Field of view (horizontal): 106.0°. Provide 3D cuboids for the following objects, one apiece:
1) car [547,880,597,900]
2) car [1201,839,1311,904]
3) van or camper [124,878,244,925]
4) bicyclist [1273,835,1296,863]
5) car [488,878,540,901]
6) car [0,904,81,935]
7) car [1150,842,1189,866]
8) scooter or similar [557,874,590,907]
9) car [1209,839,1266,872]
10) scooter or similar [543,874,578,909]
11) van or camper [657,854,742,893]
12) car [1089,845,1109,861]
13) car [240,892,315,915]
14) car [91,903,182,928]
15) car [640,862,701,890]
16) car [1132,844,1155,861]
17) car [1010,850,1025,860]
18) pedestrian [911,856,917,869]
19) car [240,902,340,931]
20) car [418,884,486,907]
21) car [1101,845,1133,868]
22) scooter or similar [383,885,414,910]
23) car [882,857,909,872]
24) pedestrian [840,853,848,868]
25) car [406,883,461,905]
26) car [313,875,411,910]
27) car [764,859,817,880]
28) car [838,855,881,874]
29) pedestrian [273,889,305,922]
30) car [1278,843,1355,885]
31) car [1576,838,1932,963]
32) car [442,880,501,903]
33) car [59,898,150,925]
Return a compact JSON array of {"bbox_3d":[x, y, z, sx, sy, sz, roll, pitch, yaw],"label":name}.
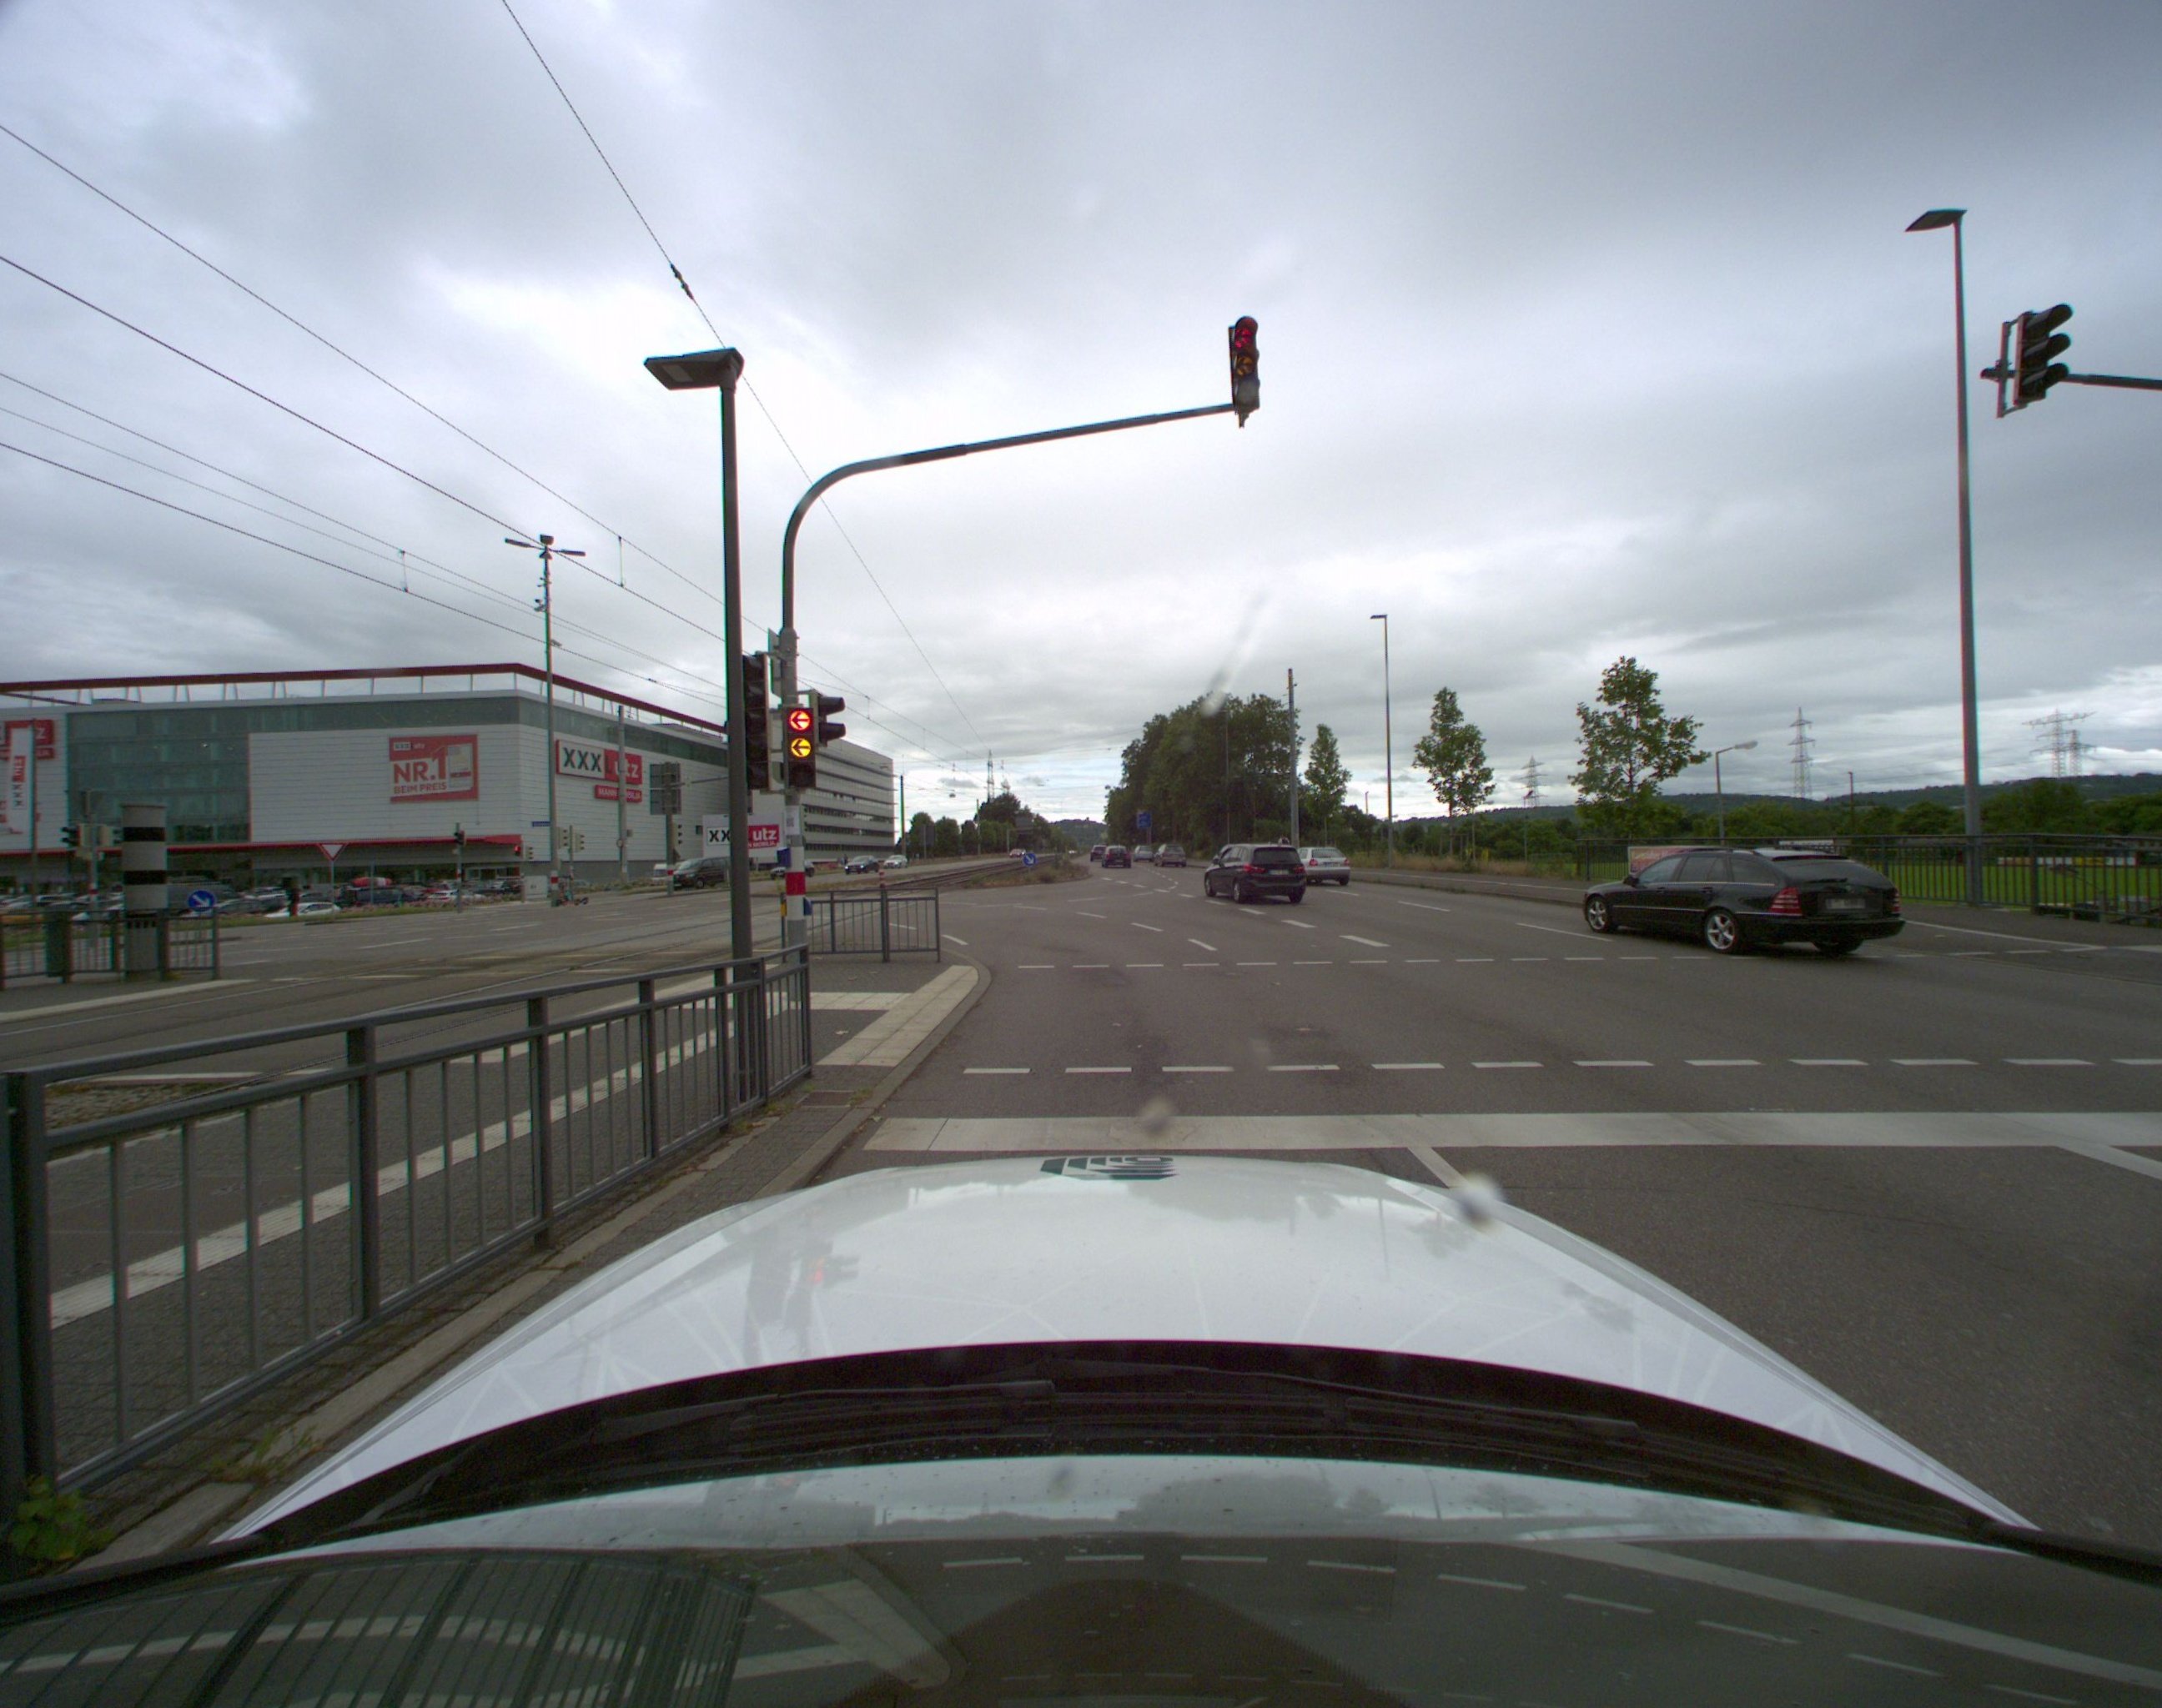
[{"bbox_3d":[-46.208,3.245,73.990,1.873,1.665,4.001,-2,0,1],"label":"car"},{"bbox_3d":[4.794,0.438,22.976,1.829,1.636,4.309,-1,0,-5],"label":"car"},{"bbox_3d":[-64.361,3.362,58.593,1.971,2.983,5.416,-3,0,12],"label":"van or camper"},{"bbox_3d":[11.029,-0.289,44.108,0.816,1.478,0.997,-3,2,-9],"label":"bicyclist"},{"bbox_3d":[-55.604,3.492,79.951,1.934,1.929,4.007,-3,0,6],"label":"car"},{"bbox_3d":[-65.002,4.026,50.059,1.799,1.643,4.010,-3,0,9],"label":"car"},{"bbox_3d":[6.144,0.013,56.923,1.854,1.561,4.309,1,0,-5],"label":"car"},{"bbox_3d":[-20.842,1.502,33.449,0.317,1.255,1.121,-4,0,17],"label":"scooter or similar"},{"bbox_3d":[7.877,0.063,41.306,1.852,1.561,4.312,1,0,-3],"label":"car"},{"bbox_3d":[-20.413,1.463,31.950,0.459,1.255,1.023,-4,0,17],"label":"scooter or similar"},{"bbox_3d":[-23.900,1.173,51.307,2.101,2.013,4.773,-5,1,15],"label":"van or camper"},{"bbox_3d":[1.681,-0.077,75.928,1.809,1.480,3.671,0,-1,0],"label":"car"},{"bbox_3d":[-64.167,3.900,65.115,1.840,1.556,4.005,-3,-1,5],"label":"car"},{"bbox_3d":[-69.375,4.496,59.928,1.848,1.552,4.006,-3,-1,6],"label":"car"},{"bbox_3d":[-45.286,2.357,90.151,2.746,2.989,6.960,0,-1,5],"label":"car"},{"bbox_3d":[5.658,-0.151,74.045,1.809,1.480,3.671,0,-1,0],"label":"car"},{"bbox_3d":[-10.663,0.116,136.277,1.985,1.728,4.003,0,0,3],"label":"car"},{"bbox_3d":[-21.250,1.091,103.687,0.617,1.654,0.539,0,-1,-34],"label":"pedestrian"},{"bbox_3d":[-47.334,3.700,48.860,1.862,1.446,4.123,0,-1,3],"label":"car"},{"bbox_3d":[-49.329,3.227,63.967,1.731,1.476,4.218,-3,0,6],"label":"car"},{"bbox_3d":[2.319,0.138,53.487,1.743,1.431,3.370,0,1,-4],"label":"car"},{"bbox_3d":[-36.479,2.339,43.536,1.170,1.233,0.342,-3,-2,-35],"label":"scooter or similar"},{"bbox_3d":[-20.068,1.102,88.168,1.720,1.539,4.050,0,0,4],"label":"car"},{"bbox_3d":[-26.535,0.769,91.188,0.678,1.689,0.561,0,-1,5],"label":"pedestrian"},{"bbox_3d":[-63.447,3.926,79.844,1.805,1.818,4.008,-3,0,6],"label":"car"},{"bbox_3d":[-52.118,2.784,59.215,2.103,2.165,5.065,-3,0,9],"label":"car"},{"bbox_3d":[-22.035,1.144,61.966,1.951,1.464,4.333,-1,0,9],"label":"car"},{"bbox_3d":[-18.003,0.819,66.412,1.820,1.464,4.218,0,0,9],"label":"car"},{"bbox_3d":[-40.395,2.627,41.536,0.712,1.597,0.784,-5,0,1],"label":"pedestrian"},{"bbox_3d":[8.928,0.339,31.150,1.725,1.509,3.627,0,1,-4],"label":"car"},{"bbox_3d":[9.549,0.551,12.122,1.729,1.479,4.319,-2,0,0],"label":"car"},{"bbox_3d":[-55.886,3.378,74.768,1.849,1.780,4.231,-2,1,6],"label":"car"},{"bbox_3d":[-72.032,4.224,60.159,1.818,1.654,3.907,-1,1,2],"label":"car"}]
